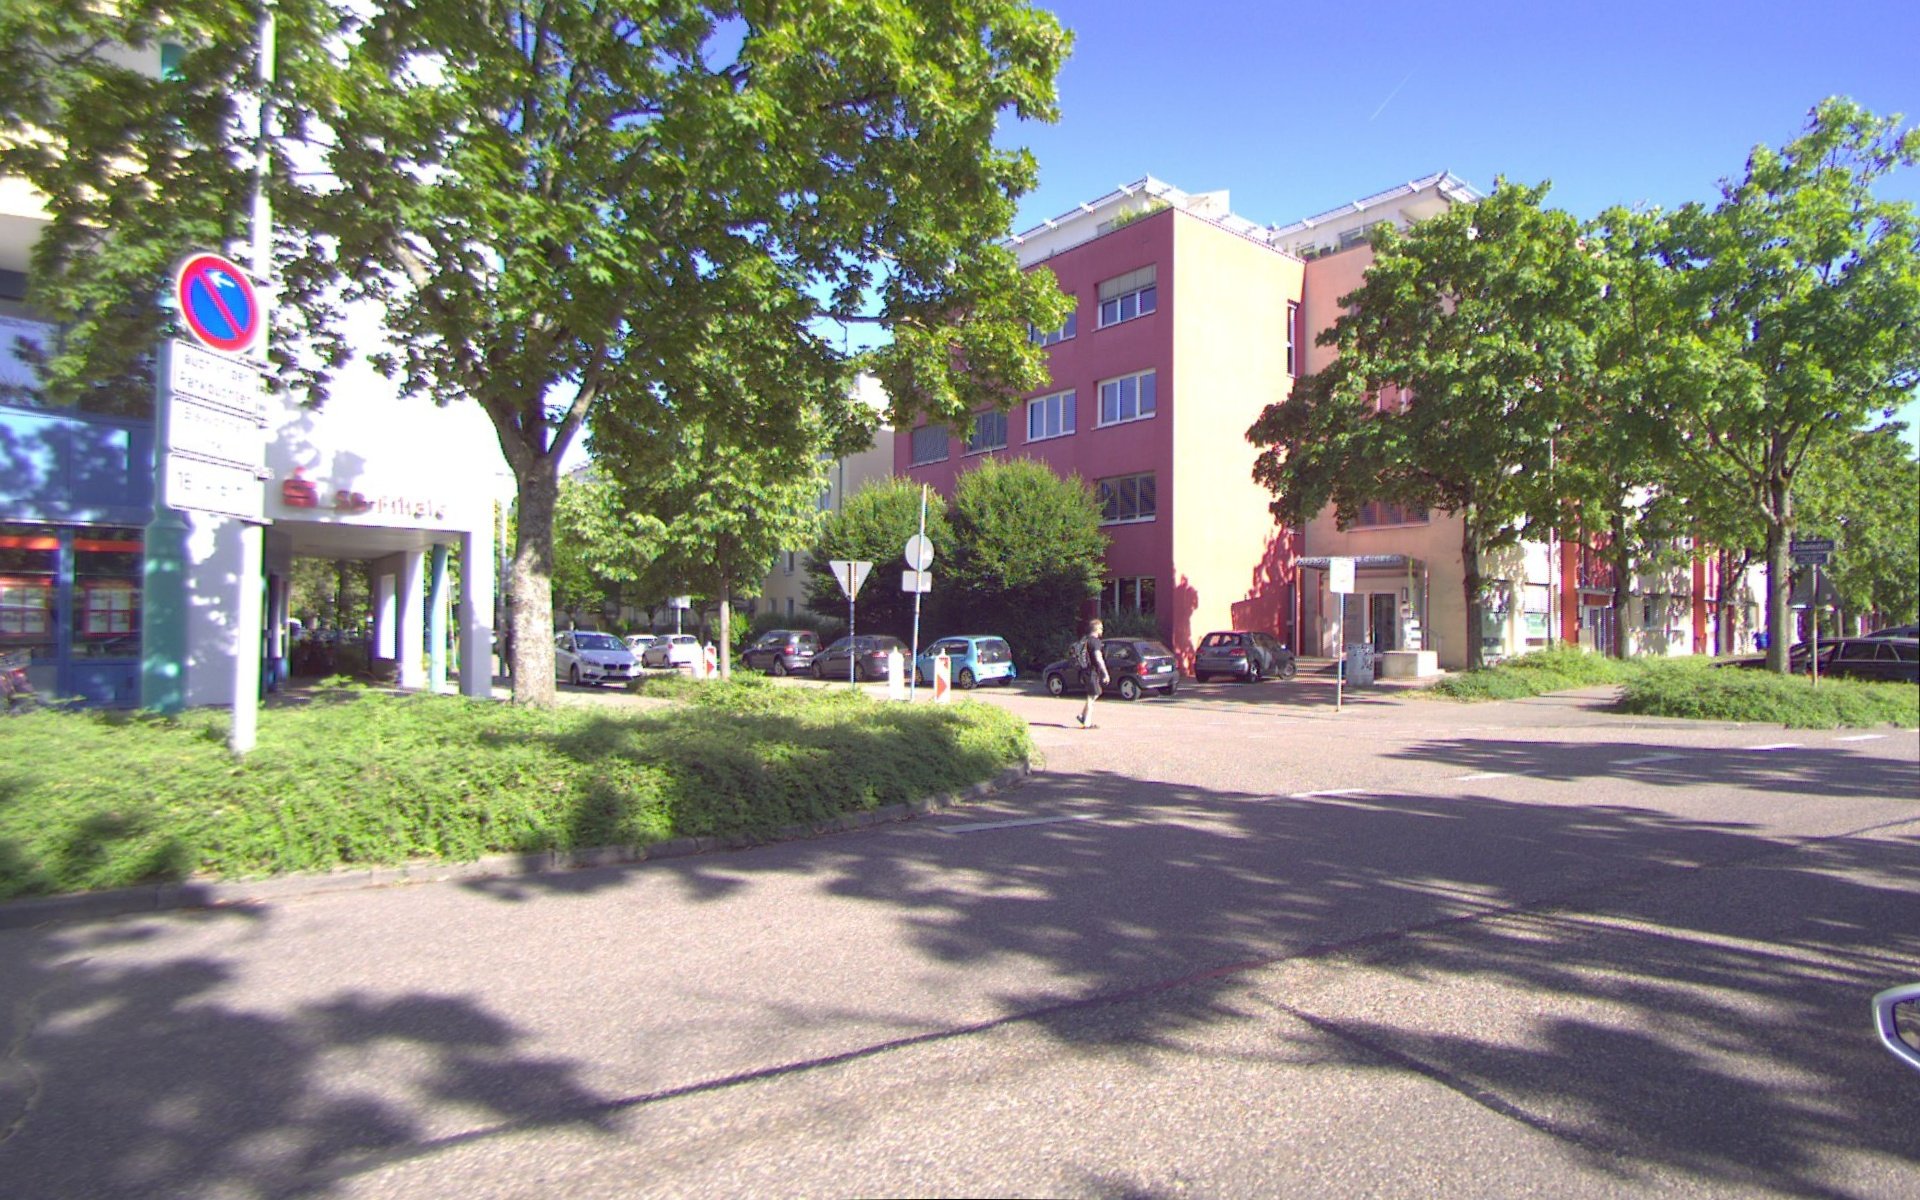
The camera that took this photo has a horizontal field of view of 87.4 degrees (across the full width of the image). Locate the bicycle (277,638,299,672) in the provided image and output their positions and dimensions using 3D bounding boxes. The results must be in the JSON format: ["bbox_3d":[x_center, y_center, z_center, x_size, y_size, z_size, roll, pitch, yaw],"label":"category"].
[{"bbox_3d":[-17.638,1.431,26.357,0.285,0.883,1.783,2,-3,-39],"label":"bicycle"}]

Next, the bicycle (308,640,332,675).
[{"bbox_3d":[-17.080,1.522,26.799,0.285,0.883,1.783,2,-3,-39],"label":"bicycle"}]

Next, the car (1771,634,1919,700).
[{"bbox_3d":[22.689,1.647,24.791,1.724,1.442,3.861,2,0,-38],"label":"car"}]

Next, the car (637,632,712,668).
[{"bbox_3d":[-13.253,2.276,46.477,1.920,1.524,3.964,-1,-1,-39],"label":"car"}]

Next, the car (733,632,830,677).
[{"bbox_3d":[-6.806,2.025,38.000,1.920,1.524,3.964,-1,-1,-39],"label":"car"}]

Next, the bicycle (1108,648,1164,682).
[{"bbox_3d":[5.296,1.944,30.250,1.647,0.999,0.449,-1,-2,36],"label":"bicycle"}]

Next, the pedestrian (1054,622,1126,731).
[{"bbox_3d":[2.154,1.252,16.623,1.012,1.748,0.652,2,-3,-35],"label":"pedestrian"}]

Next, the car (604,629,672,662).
[{"bbox_3d":[-16.178,2.248,50.386,1.920,1.524,3.964,-1,-1,-39],"label":"car"}]

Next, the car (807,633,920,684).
[{"bbox_3d":[-3.313,1.912,33.797,1.920,1.524,3.964,-1,-1,-39],"label":"car"}]

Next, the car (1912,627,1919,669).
[{"bbox_3d":[41.814,2.060,40.765,1.942,1.740,4.295,2,0,-33],"label":"car"}]

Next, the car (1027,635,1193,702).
[{"bbox_3d":[3.676,1.643,25.174,1.788,1.466,3.951,-1,-1,-39],"label":"car"}]

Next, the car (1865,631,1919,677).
[{"bbox_3d":[33.931,1.898,34.710,1.844,1.528,3.696,2,0,-39],"label":"car"}]

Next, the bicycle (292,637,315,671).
[{"bbox_3d":[-17.360,1.423,26.544,0.285,0.883,1.783,2,-3,-39],"label":"bicycle"}]

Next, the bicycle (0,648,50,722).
[{"bbox_3d":[-12.856,1.136,13.747,0.489,0.883,1.780,2,-1,-45],"label":"bicycle"}]

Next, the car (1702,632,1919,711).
[{"bbox_3d":[18.913,1.504,21.762,1.722,1.442,4.235,2,0,-35],"label":"car"}]

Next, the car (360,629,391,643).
[{"bbox_3d":[-62.168,3.831,106.854,1.985,1.449,4.587,2,-3,-42],"label":"car"}]

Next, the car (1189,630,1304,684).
[{"bbox_3d":[8.419,1.605,29.297,1.713,1.462,4.113,-2,-3,40],"label":"car"}]

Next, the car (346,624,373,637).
[{"bbox_3d":[-68.488,3.430,114.505,1.984,1.449,3.953,2,-3,-41],"label":"car"}]

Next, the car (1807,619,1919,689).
[{"bbox_3d":[26.378,1.504,28.070,1.770,1.835,3.861,2,0,-38],"label":"car"}]

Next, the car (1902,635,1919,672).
[{"bbox_3d":[39.824,2.166,39.153,1.758,1.446,4.365,2,0,-40],"label":"car"}]

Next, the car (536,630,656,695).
[{"bbox_3d":[-10.439,1.705,28.608,1.983,1.615,4.201,1,-1,-39],"label":"car"}]

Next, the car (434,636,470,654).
[{"bbox_3d":[-43.162,3.827,85.294,1.920,1.524,3.876,2,-3,-39],"label":"car"}]

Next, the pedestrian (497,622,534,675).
[{"bbox_3d":[-12.889,1.400,29.111,0.835,1.508,0.678,-1,-2,43],"label":"pedestrian"}]

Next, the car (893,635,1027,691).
[{"bbox_3d":[-0.058,1.805,29.853,1.920,1.469,3.964,-1,-1,-39],"label":"car"}]

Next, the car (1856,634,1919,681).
[{"bbox_3d":[31.993,1.920,32.955,1.846,1.466,3.692,2,0,-42],"label":"car"}]

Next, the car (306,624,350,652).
[{"bbox_3d":[-43.036,2.591,68.402,1.832,1.829,3.950,2,-3,-43],"label":"car"}]

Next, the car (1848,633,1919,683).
[{"bbox_3d":[30.294,1.844,31.331,1.862,1.466,3.692,2,0,-42],"label":"car"}]

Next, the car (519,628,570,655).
[{"bbox_3d":[-25.907,2.575,62.598,1.920,1.524,3.876,-1,-1,-39],"label":"car"}]

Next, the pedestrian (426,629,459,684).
[{"bbox_3d":[-14.853,1.609,28.816,0.712,1.534,0.791,2,0,-35],"label":"pedestrian"}]

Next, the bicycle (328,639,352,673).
[{"bbox_3d":[-16.751,1.496,27.122,0.285,0.883,1.783,2,-3,-39],"label":"bicycle"}]

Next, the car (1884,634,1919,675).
[{"bbox_3d":[35.784,2.006,36.003,1.825,1.446,3.696,2,0,-39],"label":"car"}]

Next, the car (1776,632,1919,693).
[{"bbox_3d":[24.446,1.640,26.808,1.724,1.442,3.861,2,0,-38],"label":"car"}]
